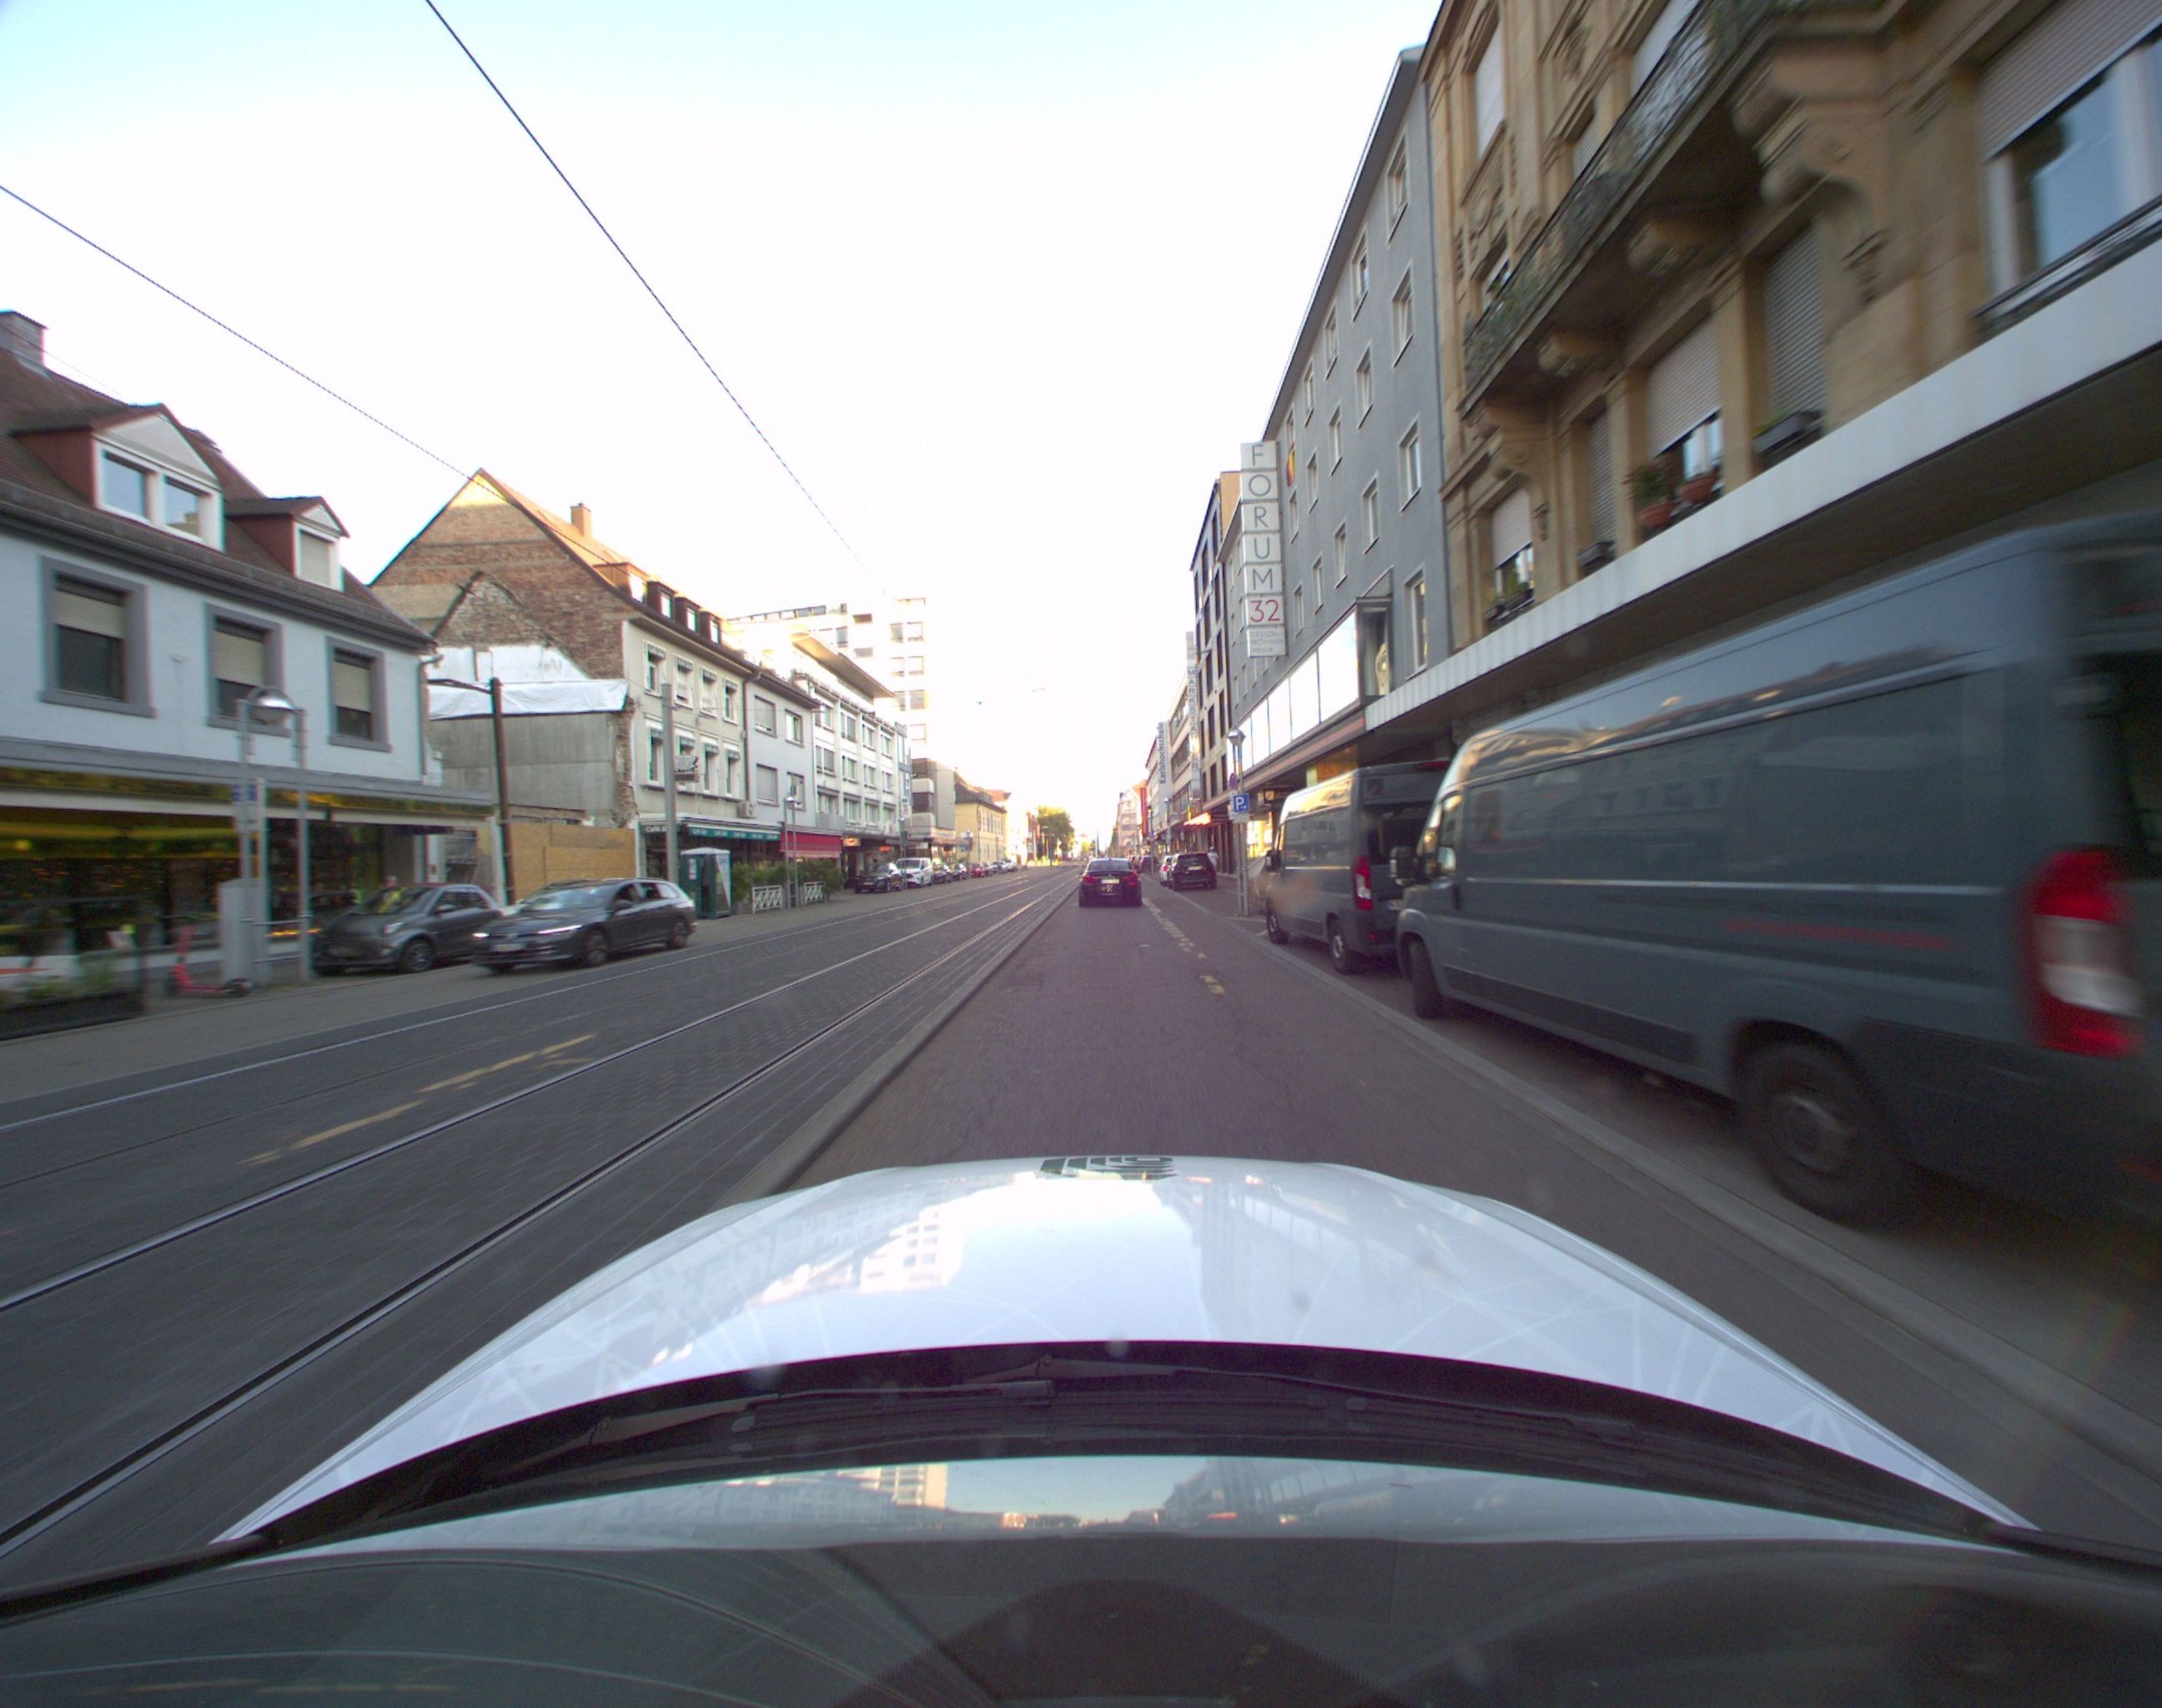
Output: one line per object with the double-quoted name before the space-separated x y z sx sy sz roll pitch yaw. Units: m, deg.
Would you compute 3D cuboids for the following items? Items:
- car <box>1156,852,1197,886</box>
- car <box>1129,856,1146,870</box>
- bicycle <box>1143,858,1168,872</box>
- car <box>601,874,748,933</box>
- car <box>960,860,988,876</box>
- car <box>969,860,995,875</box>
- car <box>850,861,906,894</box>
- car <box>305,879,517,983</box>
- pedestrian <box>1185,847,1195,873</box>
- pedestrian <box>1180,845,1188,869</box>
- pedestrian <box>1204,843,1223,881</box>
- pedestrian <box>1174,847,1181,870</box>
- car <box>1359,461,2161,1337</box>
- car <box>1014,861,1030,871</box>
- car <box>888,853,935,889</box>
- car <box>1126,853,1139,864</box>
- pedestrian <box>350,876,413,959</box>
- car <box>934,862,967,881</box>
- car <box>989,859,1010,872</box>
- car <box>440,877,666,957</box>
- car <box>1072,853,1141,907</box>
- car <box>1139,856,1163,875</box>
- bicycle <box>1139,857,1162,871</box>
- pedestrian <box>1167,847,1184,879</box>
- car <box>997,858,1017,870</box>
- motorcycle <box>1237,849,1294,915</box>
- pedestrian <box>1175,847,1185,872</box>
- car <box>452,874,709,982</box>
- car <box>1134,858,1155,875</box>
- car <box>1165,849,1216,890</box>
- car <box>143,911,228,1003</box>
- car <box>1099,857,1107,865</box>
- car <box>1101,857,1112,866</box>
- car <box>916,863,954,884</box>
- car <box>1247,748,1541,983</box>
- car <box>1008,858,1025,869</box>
"car" 4.578 0.692 39.500 1.554 1.442 3.710 -5 0 2
"car" 6.505 1.052 93.910 1.767 1.549 3.504 -2 -1 2
"bicycle" 5.787 0.859 63.187 1.853 1.080 0.469 -2 -2 2
"car" -11.995 1.403 24.391 1.985 1.453 4.333 -2 0 3
"car" -10.255 1.282 78.185 1.921 1.435 4.248 -1 0 2
"car" -10.066 1.318 83.262 1.921 1.435 4.248 -1 0 2
"car" -11.453 1.293 46.255 1.852 1.678 4.466 -1 0 2
"car" -12.067 1.314 14.887 1.472 1.577 2.794 -3 0 0
"pedestrian" 7.882 0.437 58.882 0.506 1.792 0.760 -3 0 2
"pedestrian" 7.739 0.208 61.211 0.486 1.790 0.761 -3 0 5
"pedestrian" 6.316 0.367 38.857 0.686 1.740 0.821 -4 0 3
"pedestrian" 7.266 0.340 61.253 0.473 1.699 0.753 -3 0 5
"car" 3.871 0.073 5.307 2.085 2.455 6.034 -3 0 2
"car" -9.041 1.843 125.509 1.921 1.435 4.248 -1 0 2
"car" -11.143 1.070 53.906 1.987 2.156 4.910 -2 0 0
"car" 7.358 0.690 117.099 1.767 1.549 3.504 -2 -1 2
"pedestrian" -14.474 1.289 16.863 0.660 1.644 0.695 -2 0 2
"car" -10.944 1.473 68.464 1.921 1.435 4.248 -1 0 2
"car" -9.650 1.387 96.747 1.921 1.435 4.248 -3 0 2
"car" -12.202 1.371 19.324 1.985 1.453 4.825 -2 0 3
"car" 0.874 0.781 25.774 1.945 1.498 4.469 -2 -1 3
"car" 6.143 1.034 72.206 1.896 1.549 4.001 -2 -1 2
"bicycle" 5.894 0.826 68.938 1.853 1.119 0.469 -2 -2 2
"pedestrian" 5.090 0.486 43.838 0.559 1.647 0.753 -3 0 -25
"car" -9.310 1.252 103.150 1.921 1.435 4.248 -1 0 2
"motorcycle" 4.391 0.642 19.579 0.841 1.419 2.166 -5 0 2
"pedestrian" 7.180 0.410 59.253 0.552 1.791 0.760 -3 0 2
"car" -8.824 1.212 14.922 1.685 1.453 4.468 -4 0 3
"car" 6.144 1.182 79.064 1.896 1.549 3.781 -2 -1 2
"car" 4.529 0.619 34.232 1.648 1.537 3.887 -3 0 2
"car" -12.742 1.457 11.592 0.781 1.234 0.339 -3 0 -1
"car" 5.935 1.854 221.025 1.986 1.838 4.001 -2 -3 2
"car" 4.275 1.303 138.109 1.767 1.549 3.504 -2 -1 2
"car" -10.929 1.420 61.286 1.921 1.435 4.248 -1 0 2
"car" 4.001 0.126 11.687 2.026 2.455 5.409 -4 0 0
"car" -9.239 1.356 117.041 1.921 1.435 4.248 -1 0 2
